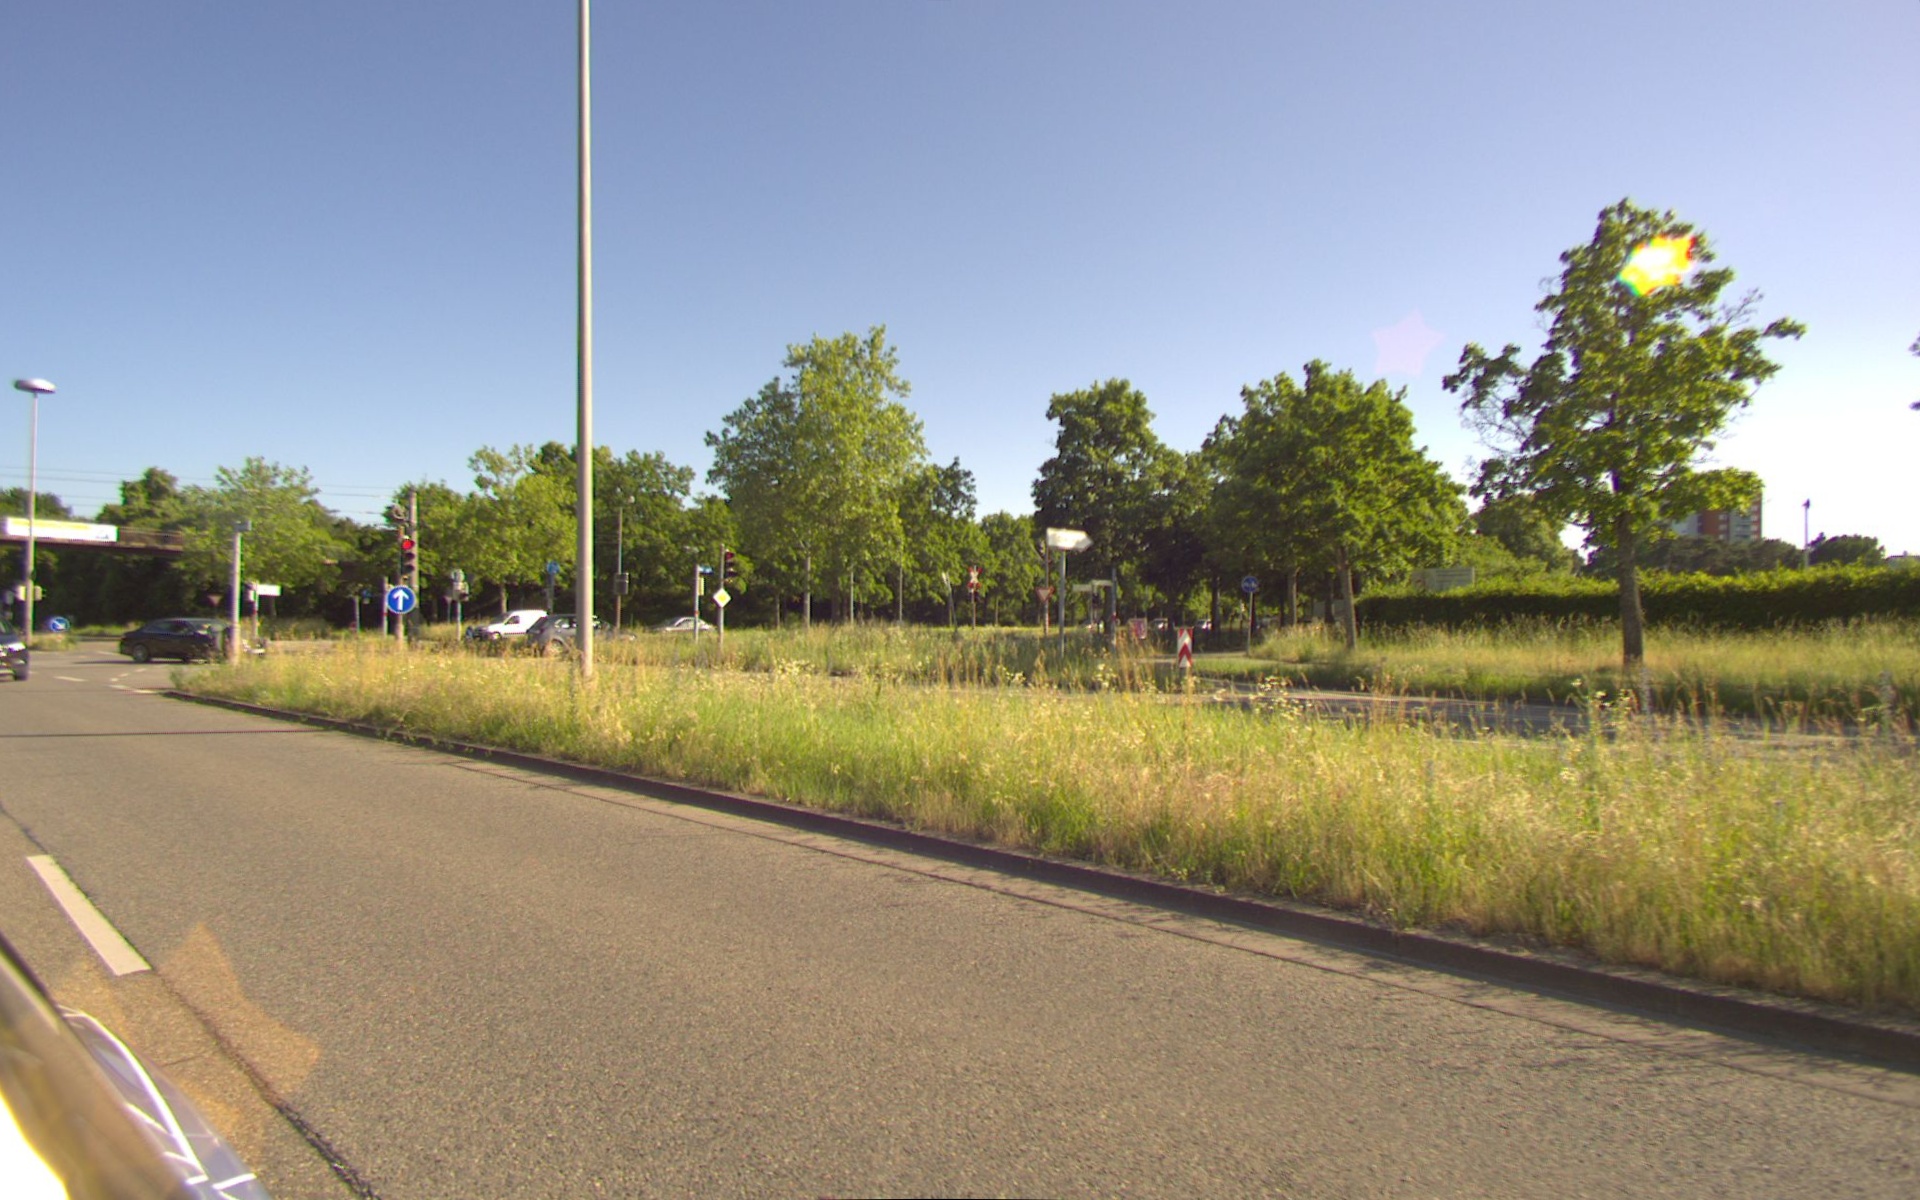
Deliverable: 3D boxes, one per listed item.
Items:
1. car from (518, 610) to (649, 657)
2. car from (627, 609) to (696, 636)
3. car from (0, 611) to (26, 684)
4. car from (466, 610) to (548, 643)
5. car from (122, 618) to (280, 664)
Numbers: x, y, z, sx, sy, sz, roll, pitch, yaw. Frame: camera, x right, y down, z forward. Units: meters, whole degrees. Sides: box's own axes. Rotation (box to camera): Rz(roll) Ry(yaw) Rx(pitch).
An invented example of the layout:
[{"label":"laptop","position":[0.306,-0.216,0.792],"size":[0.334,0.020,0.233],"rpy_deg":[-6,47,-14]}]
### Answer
[{"label":"car","position":[-14.154,1.211,38.153],"size":[4.313,1.582,1.853],"rpy_deg":[-1,0,-33]},{"label":"car","position":[-18.443,1.377,62.651],"size":[1.847,1.572,3.882],"rpy_deg":[0,0,33]},{"label":"car","position":[-23.805,1.119,24.238],"size":[3.854,1.675,1.692],"rpy_deg":[-1,0,41]},{"label":"car","position":[-25.712,1.474,57.498],"size":[1.772,1.768,3.955],"rpy_deg":[0,-1,33]},{"label":"car","position":[-25.439,1.342,33.959],"size":[4.483,1.498,1.773],"rpy_deg":[0,-1,13]}]
